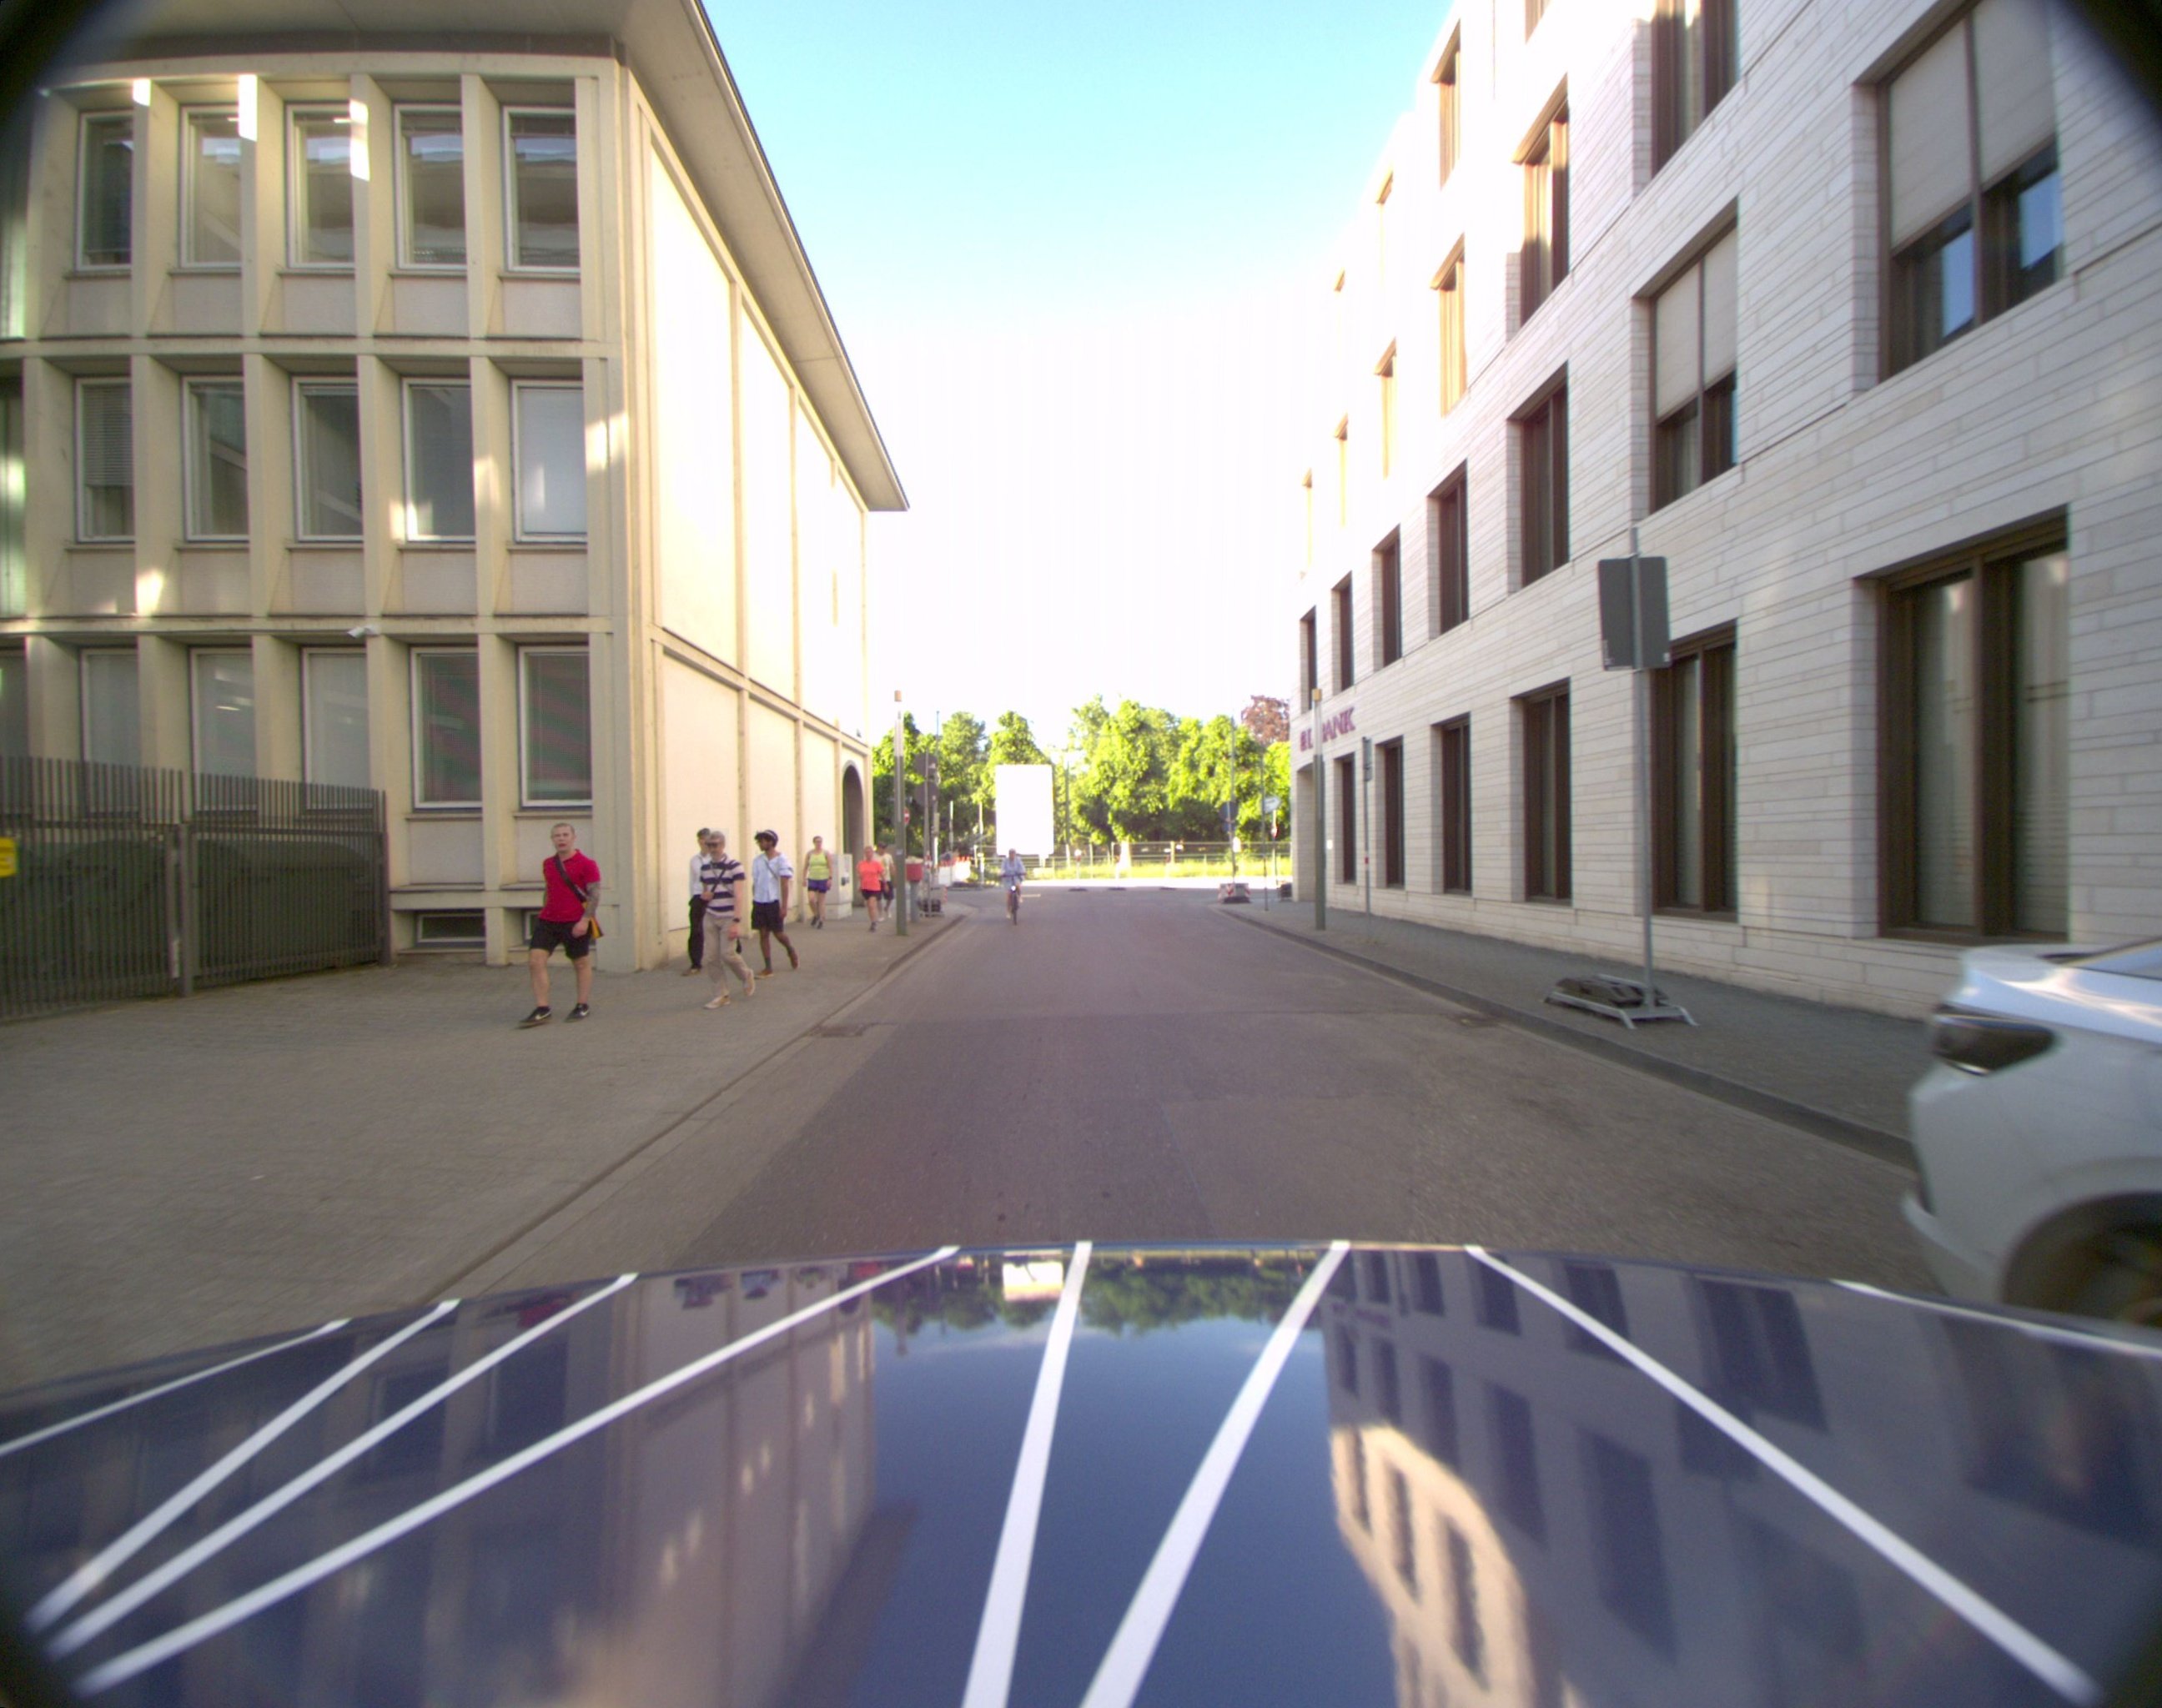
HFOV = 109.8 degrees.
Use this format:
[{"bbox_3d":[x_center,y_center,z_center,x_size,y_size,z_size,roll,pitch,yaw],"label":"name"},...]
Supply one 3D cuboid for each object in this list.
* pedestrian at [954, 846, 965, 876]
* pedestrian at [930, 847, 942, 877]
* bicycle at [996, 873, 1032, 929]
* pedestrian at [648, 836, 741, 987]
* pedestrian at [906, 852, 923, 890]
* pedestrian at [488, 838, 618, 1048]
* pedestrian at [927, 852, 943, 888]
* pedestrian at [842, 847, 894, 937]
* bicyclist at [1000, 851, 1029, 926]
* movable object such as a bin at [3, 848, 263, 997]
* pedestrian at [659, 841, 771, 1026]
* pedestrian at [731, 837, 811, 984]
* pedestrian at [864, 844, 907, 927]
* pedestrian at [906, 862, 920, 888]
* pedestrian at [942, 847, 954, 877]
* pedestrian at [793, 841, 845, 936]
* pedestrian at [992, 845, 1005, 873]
[{"bbox_3d":[-7.359,0.408,46.068,0.626,1.773,0.622,-2,2,-7],"label":"pedestrian"},{"bbox_3d":[-8.779,0.469,46.113,0.626,1.773,0.622,-2,2,-7],"label":"pedestrian"},{"bbox_3d":[-1.499,1.029,17.251,0.595,1.077,2.310,-1,1,0],"label":"bicycle"},{"bbox_3d":[-4.821,0.693,9.522,0.685,1.768,0.693,5,1,0],"label":"pedestrian"},{"bbox_3d":[-7.431,0.750,33.845,0.626,1.632,0.622,-2,2,-7],"label":"pedestrian"},{"bbox_3d":[-4.716,0.765,6.817,0.685,1.768,0.593,3,1,0],"label":"pedestrian"},{"bbox_3d":[-6.684,0.718,34.864,0.626,1.604,0.622,-2,2,-7],"label":"pedestrian"},{"bbox_3d":[-3.997,0.698,14.311,0.685,1.627,0.693,4,1,0],"label":"pedestrian"},{"bbox_3d":[-1.514,0.778,17.356,0.586,1.679,0.538,-2,2,-1],"label":"bicyclist"},{"bbox_3d":[-10.032,0.666,8.142,0.969,1.428,1.382,-2,1,-1],"label":"movable object such as a bin"},{"bbox_3d":[-3.741,0.780,7.823,0.685,1.768,0.693,5,1,0],"label":"pedestrian"},{"bbox_3d":[-3.874,0.682,9.537,0.685,1.768,0.693,1,1,0],"label":"pedestrian"},{"bbox_3d":[-4.164,0.653,16.192,0.685,1.705,0.693,2,1,0],"label":"pedestrian"},{"bbox_3d":[-7.688,0.959,34.714,0.535,1.170,0.622,-2,2,-7],"label":"pedestrian"},{"bbox_3d":[-8.066,0.501,46.183,0.626,1.773,0.622,-2,2,-7],"label":"pedestrian"},{"bbox_3d":[-4.917,0.633,14.300,0.685,1.705,0.693,2,1,0],"label":"pedestrian"},{"bbox_3d":[-5.388,0.338,49.531,0.627,1.773,0.622,-2,2,-19],"label":"pedestrian"}]
